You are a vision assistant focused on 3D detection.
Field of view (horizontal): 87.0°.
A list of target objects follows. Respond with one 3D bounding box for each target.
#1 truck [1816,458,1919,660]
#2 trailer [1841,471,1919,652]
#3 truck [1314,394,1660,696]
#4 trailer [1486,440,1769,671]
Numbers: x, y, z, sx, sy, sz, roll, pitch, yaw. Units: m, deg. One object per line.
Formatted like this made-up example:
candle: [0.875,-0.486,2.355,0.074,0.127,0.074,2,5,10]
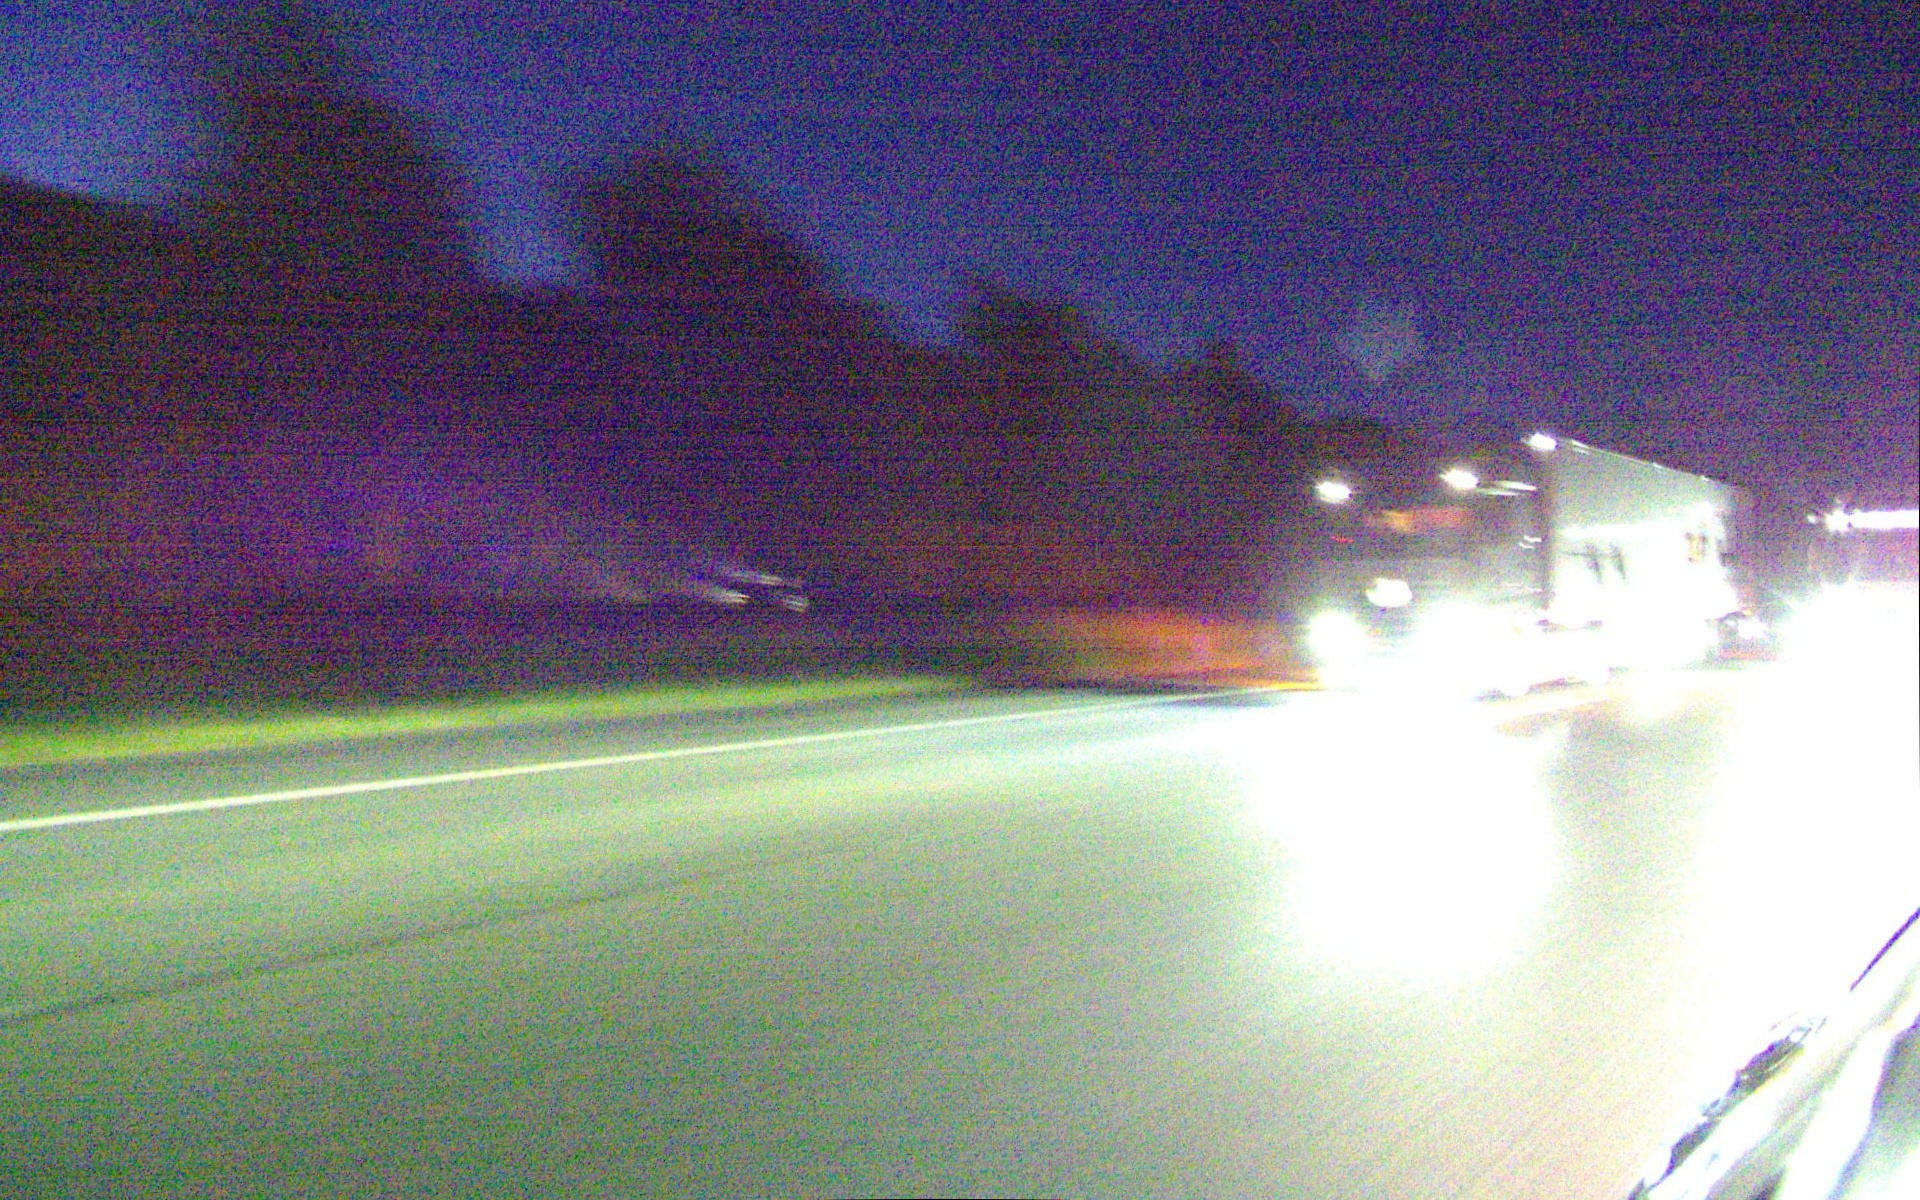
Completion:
truck: [22.525,-0.892,23.761,6.605,4.260,2.666,0,-1,-41]
trailer: [27.597,-0.963,28.161,13.273,4.260,2.747,-1,0,-41]
truck: [9.224,-0.771,17.243,7.539,4.124,2.595,0,-1,-41]
trailer: [15.012,-0.828,22.291,9.833,4.124,2.595,0,-1,-41]
